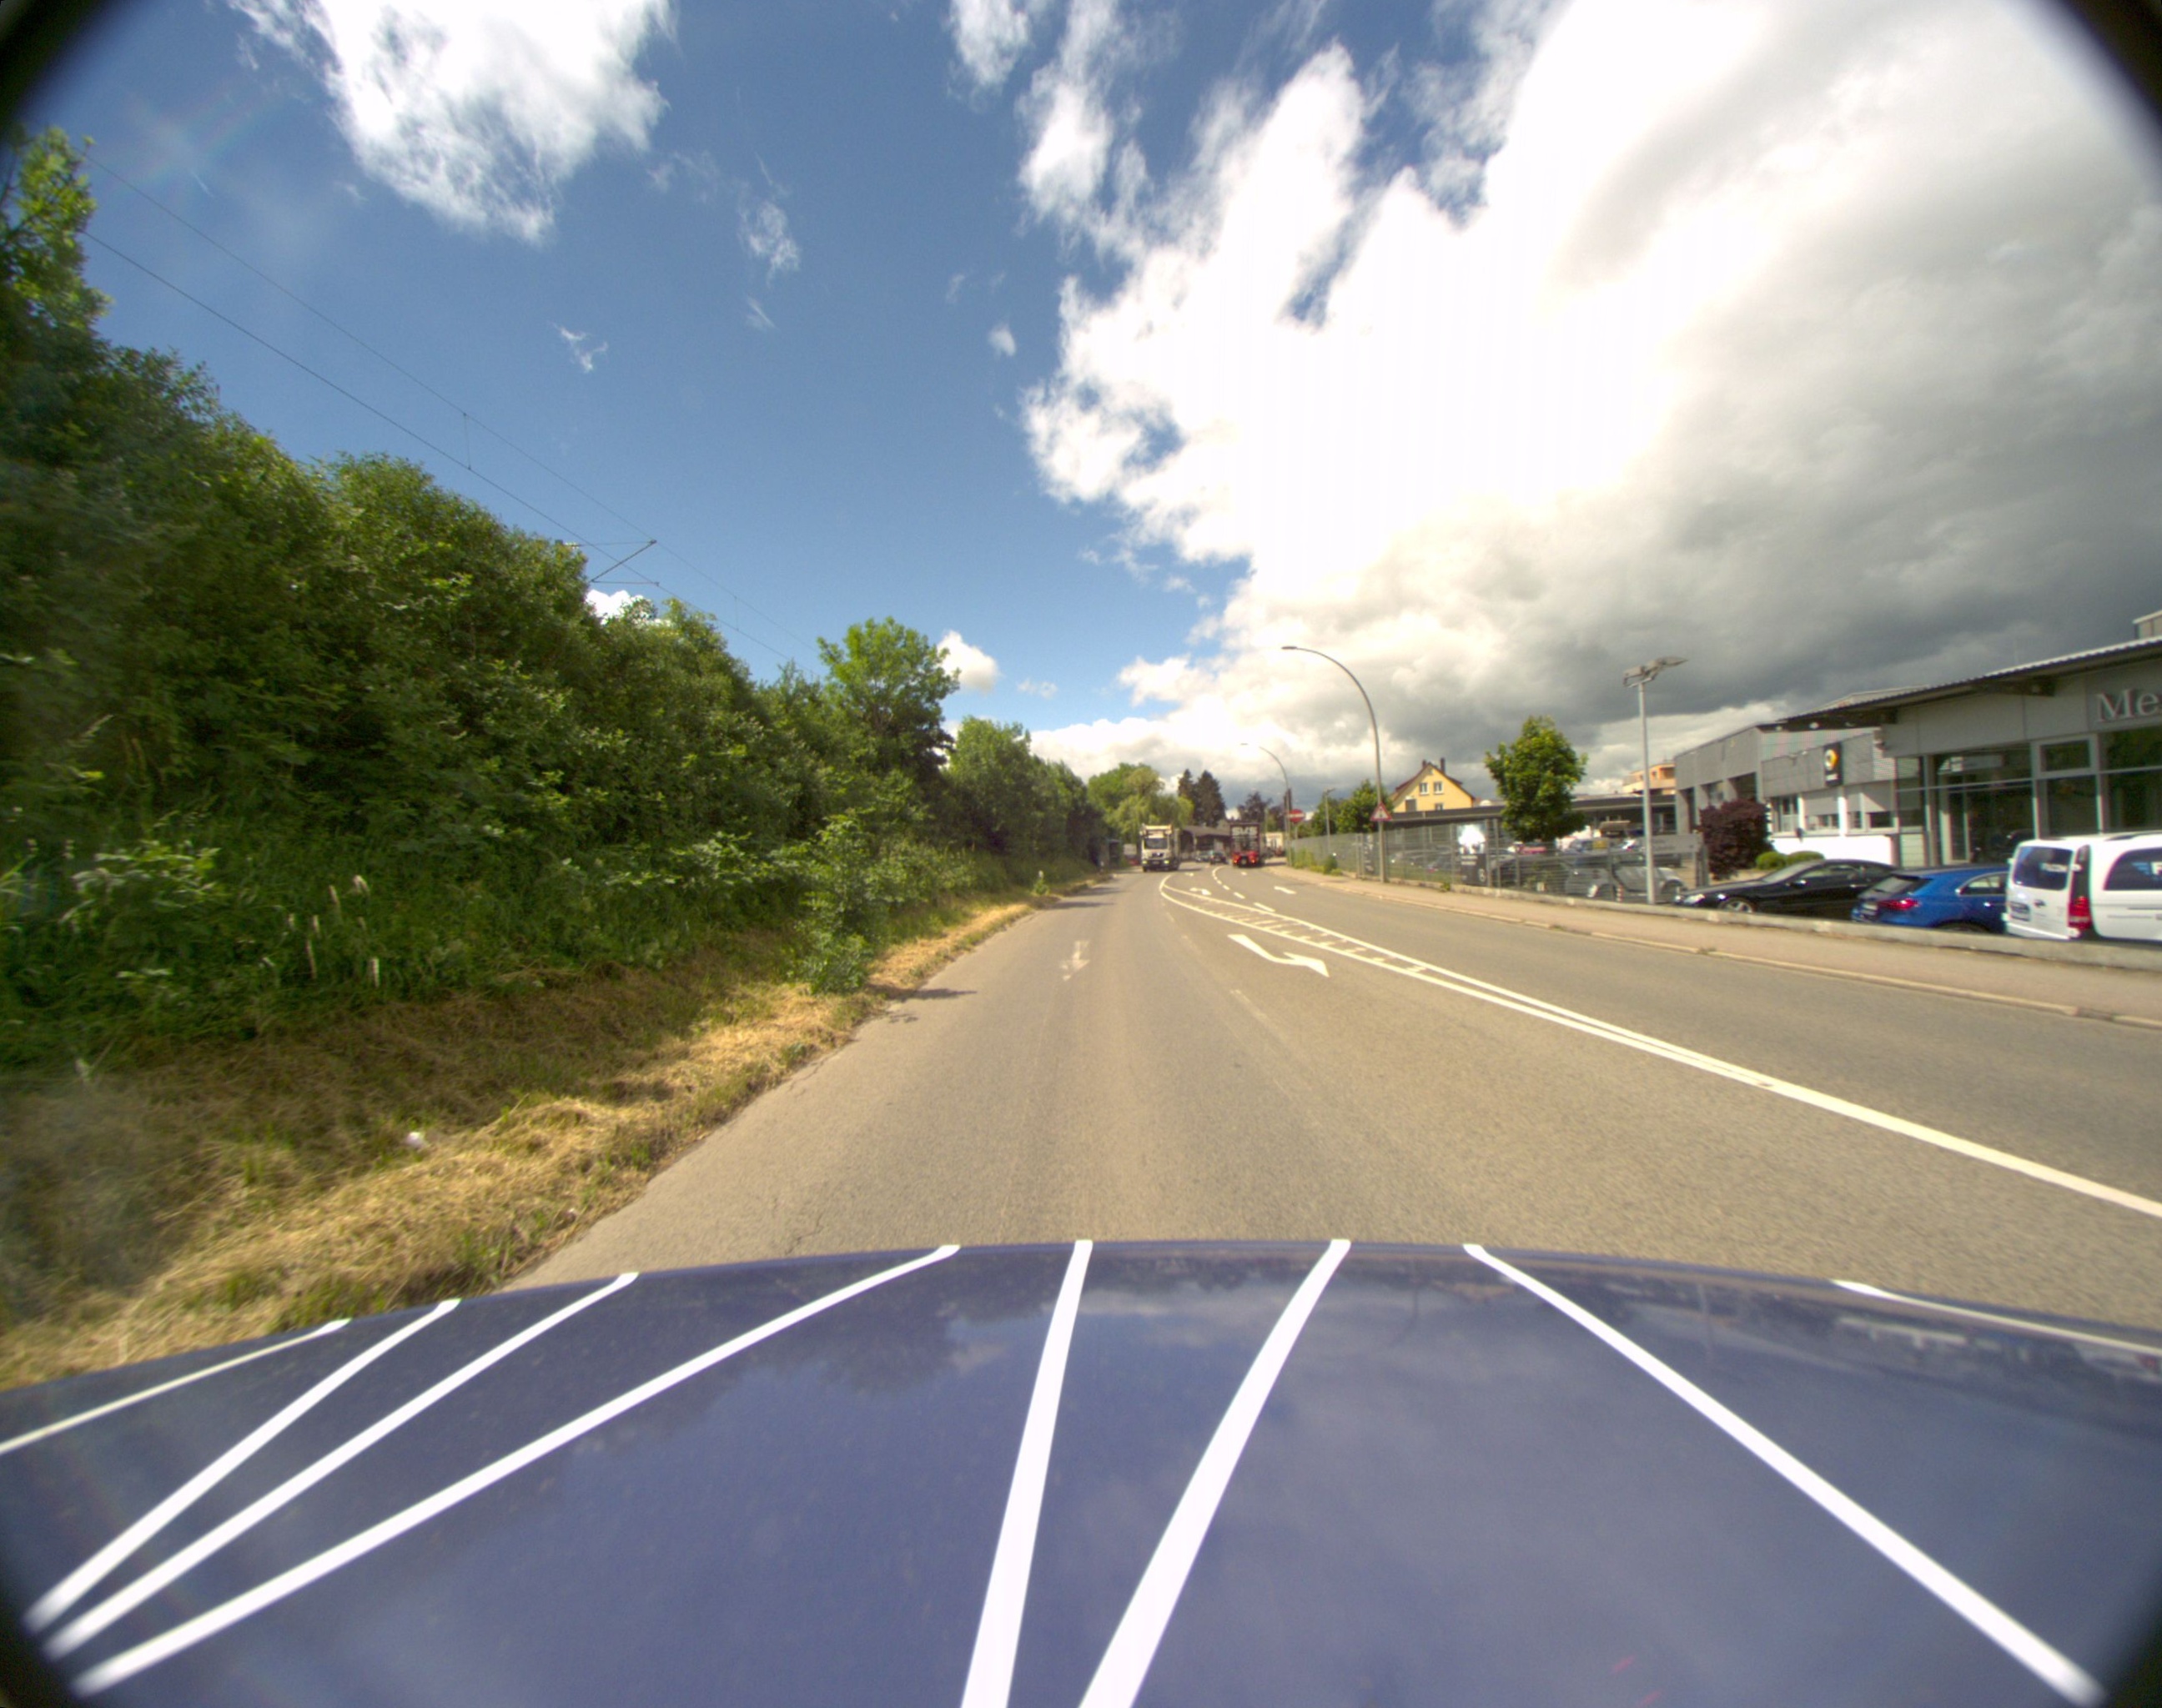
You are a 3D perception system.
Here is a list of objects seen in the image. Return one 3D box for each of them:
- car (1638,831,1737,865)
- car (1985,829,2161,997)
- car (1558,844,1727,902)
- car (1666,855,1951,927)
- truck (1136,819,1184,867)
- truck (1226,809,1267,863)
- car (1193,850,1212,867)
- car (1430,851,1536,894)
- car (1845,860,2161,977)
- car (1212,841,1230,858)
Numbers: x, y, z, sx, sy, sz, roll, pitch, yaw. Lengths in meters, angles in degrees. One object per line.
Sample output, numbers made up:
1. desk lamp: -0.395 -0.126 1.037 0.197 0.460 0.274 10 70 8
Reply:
1. car: 28.134 -0.284 35.333 3.261 1.443 1.434 -2 1 13
2. car: 13.756 0.593 8.104 4.945 1.827 1.896 -2 1 34
3. car: 16.526 0.559 22.505 3.661 1.454 1.659 -3 0 3
4. car: 15.035 0.778 16.034 3.945 1.285 1.807 -4 -1 27
5. truck: 6.947 -0.932 65.495 2.902 3.746 9.642 -2 1 12
6. truck: 15.465 -1.652 70.458 2.977 4.634 8.187 -2 1 16
7. car: 16.090 0.596 100.381 1.952 2.002 4.004 -2 0 15
8. car: 15.610 0.700 29.615 3.263 1.565 1.583 -2 1 7
9. car: 13.884 0.884 10.781 3.945 1.417 1.807 -4 -1 32
10. car: 15.303 -0.522 82.916 1.799 1.723 4.003 0 1 11
